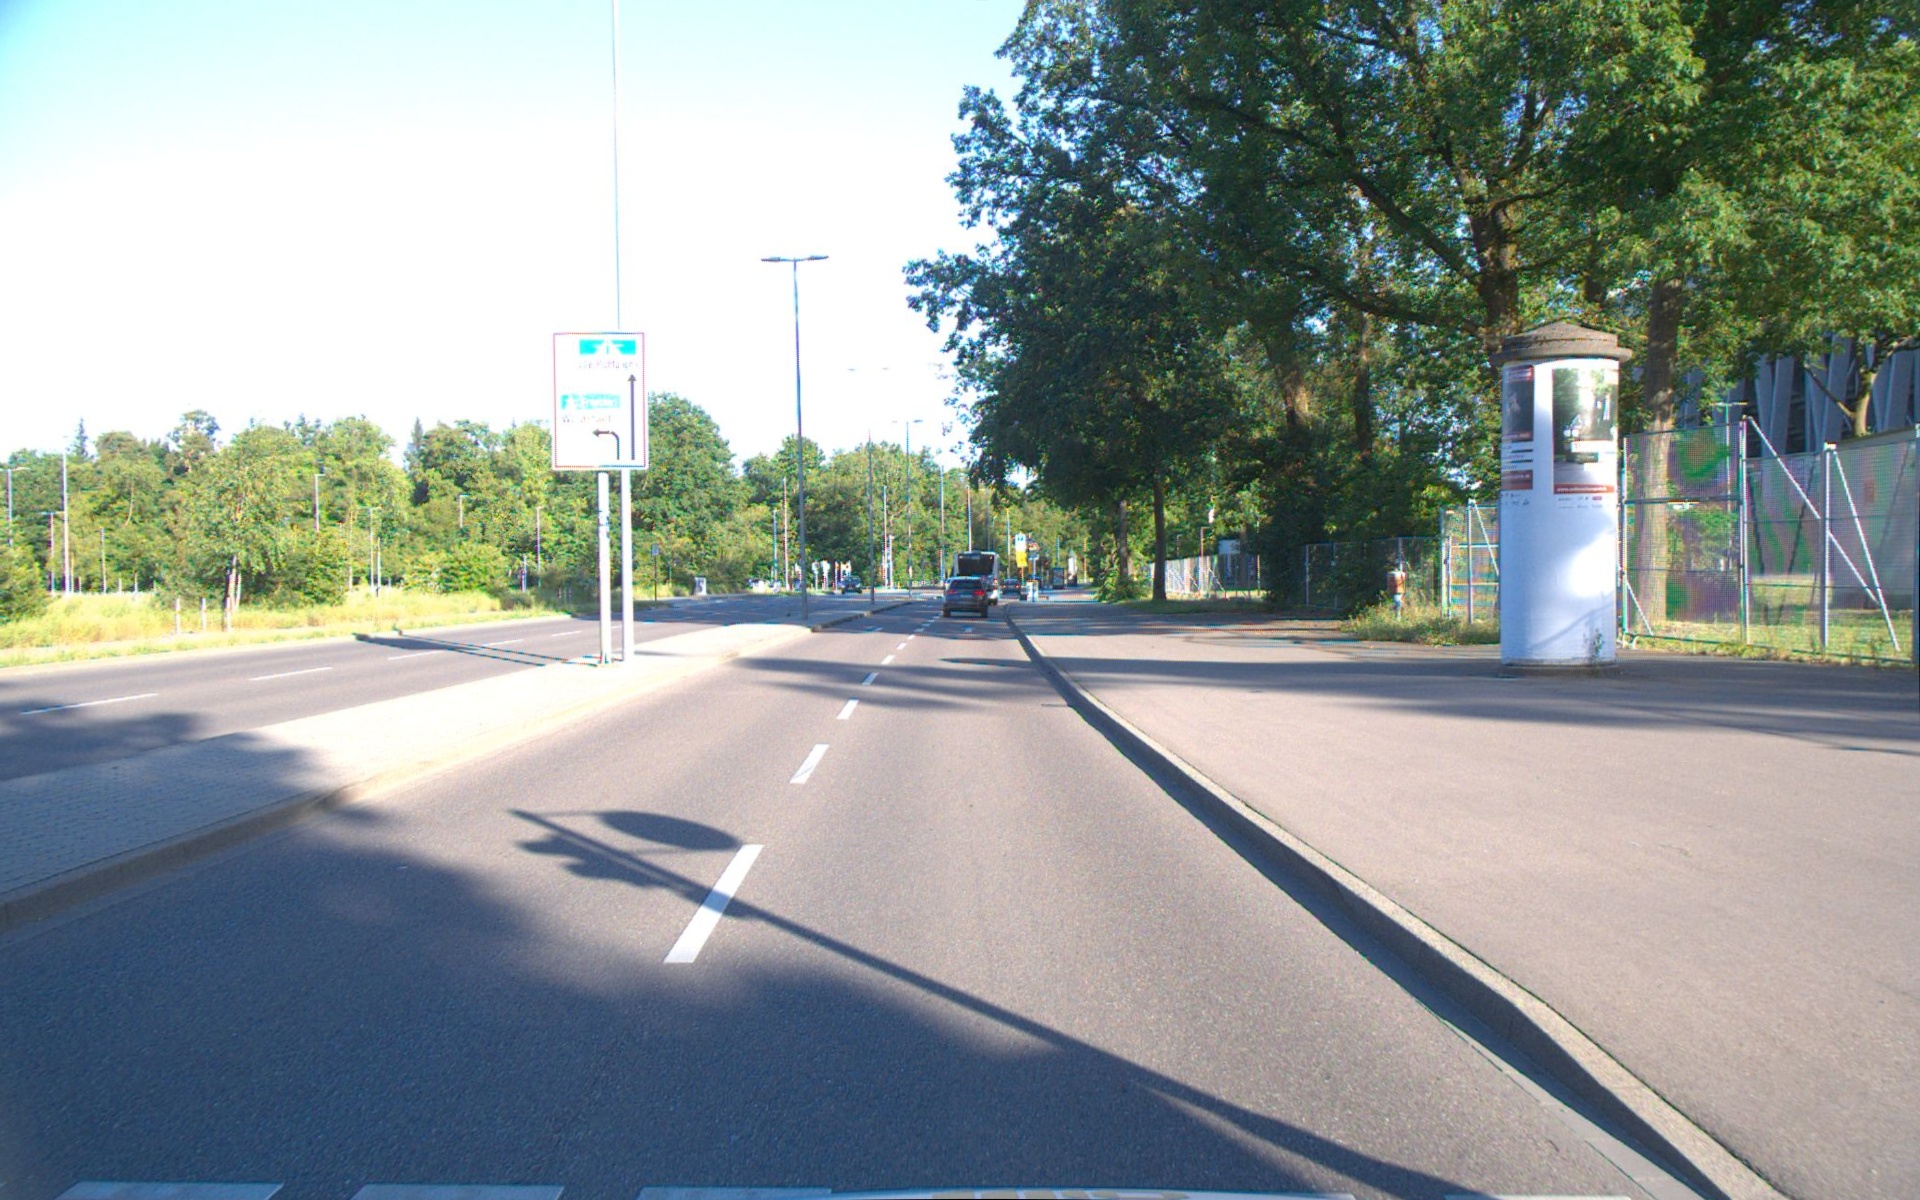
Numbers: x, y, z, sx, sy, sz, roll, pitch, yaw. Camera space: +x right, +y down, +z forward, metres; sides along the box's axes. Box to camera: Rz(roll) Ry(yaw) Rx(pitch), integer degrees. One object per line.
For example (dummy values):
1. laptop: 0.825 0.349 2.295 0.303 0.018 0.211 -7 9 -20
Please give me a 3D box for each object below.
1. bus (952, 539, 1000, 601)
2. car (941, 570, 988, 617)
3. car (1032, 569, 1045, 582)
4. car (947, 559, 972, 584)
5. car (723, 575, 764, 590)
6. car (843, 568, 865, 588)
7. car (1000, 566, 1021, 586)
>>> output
1. bus: 0.855 -1.817 96.319 2.552 3.427 7.975 0 2 -1
2. car: 0.156 -0.283 69.093 1.842 1.795 4.000 -1 2 -1
3. car: 10.018 -3.166 211.178 1.559 1.633 3.584 1 1 1
4. car: -0.043 -2.153 124.977 1.842 1.795 4.000 -1 2 -1
5. car: -21.656 -1.775 165.316 3.631 1.377 1.719 -3 2 -33
6. car: -9.915 -2.069 155.261 1.825 1.713 3.772 -2 2 -1
7. car: 4.717 -2.232 154.280 1.824 1.713 3.775 -2 2 3
